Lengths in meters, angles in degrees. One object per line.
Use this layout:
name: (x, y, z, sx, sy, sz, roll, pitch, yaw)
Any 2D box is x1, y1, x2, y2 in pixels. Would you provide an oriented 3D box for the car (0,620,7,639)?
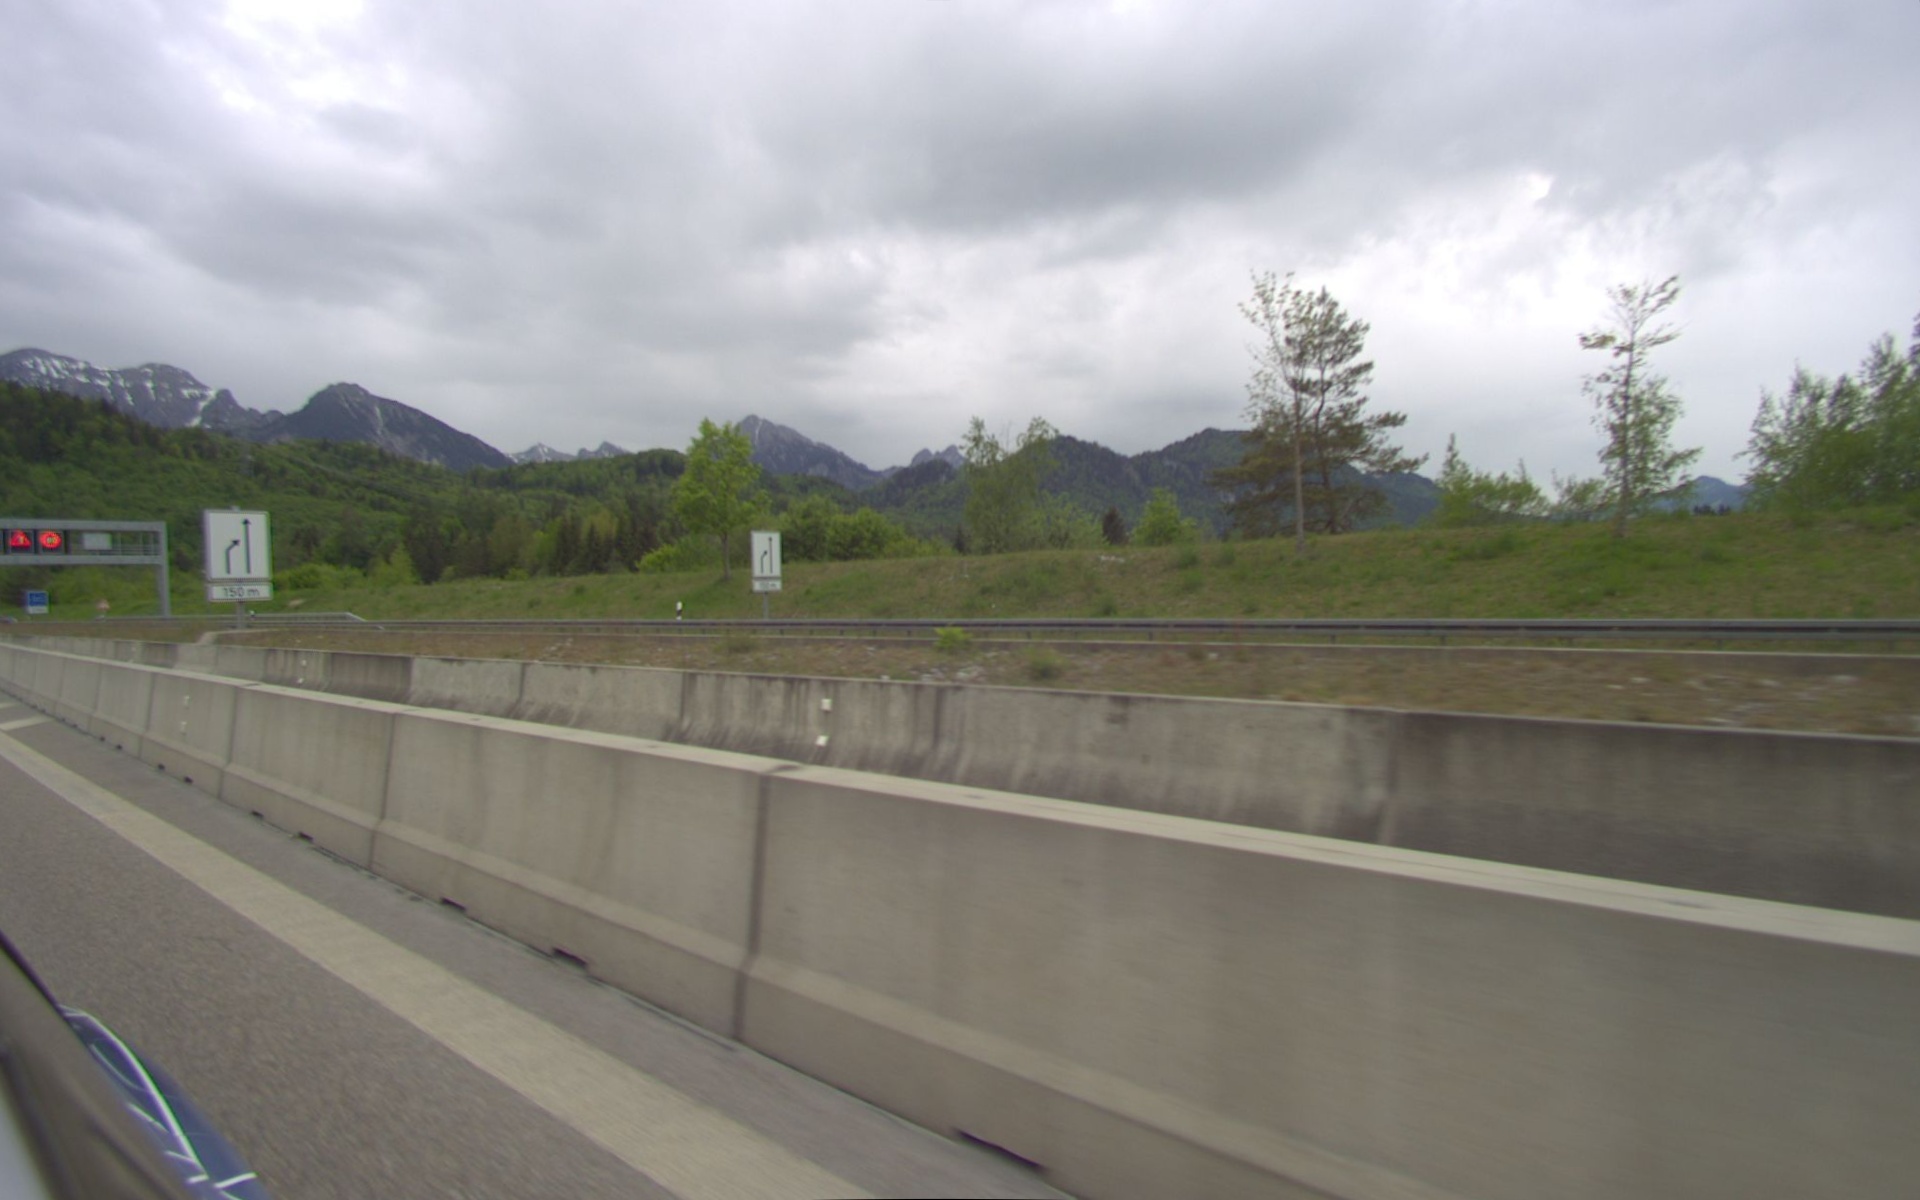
car: (-91.927, 2.779, 95.788, 5.747, 1.749, 1.859, -1, 0, 41)

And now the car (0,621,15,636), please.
car: (-104.118, 3.105, 109.799, 4.402, 1.620, 1.750, -1, 0, 40)
